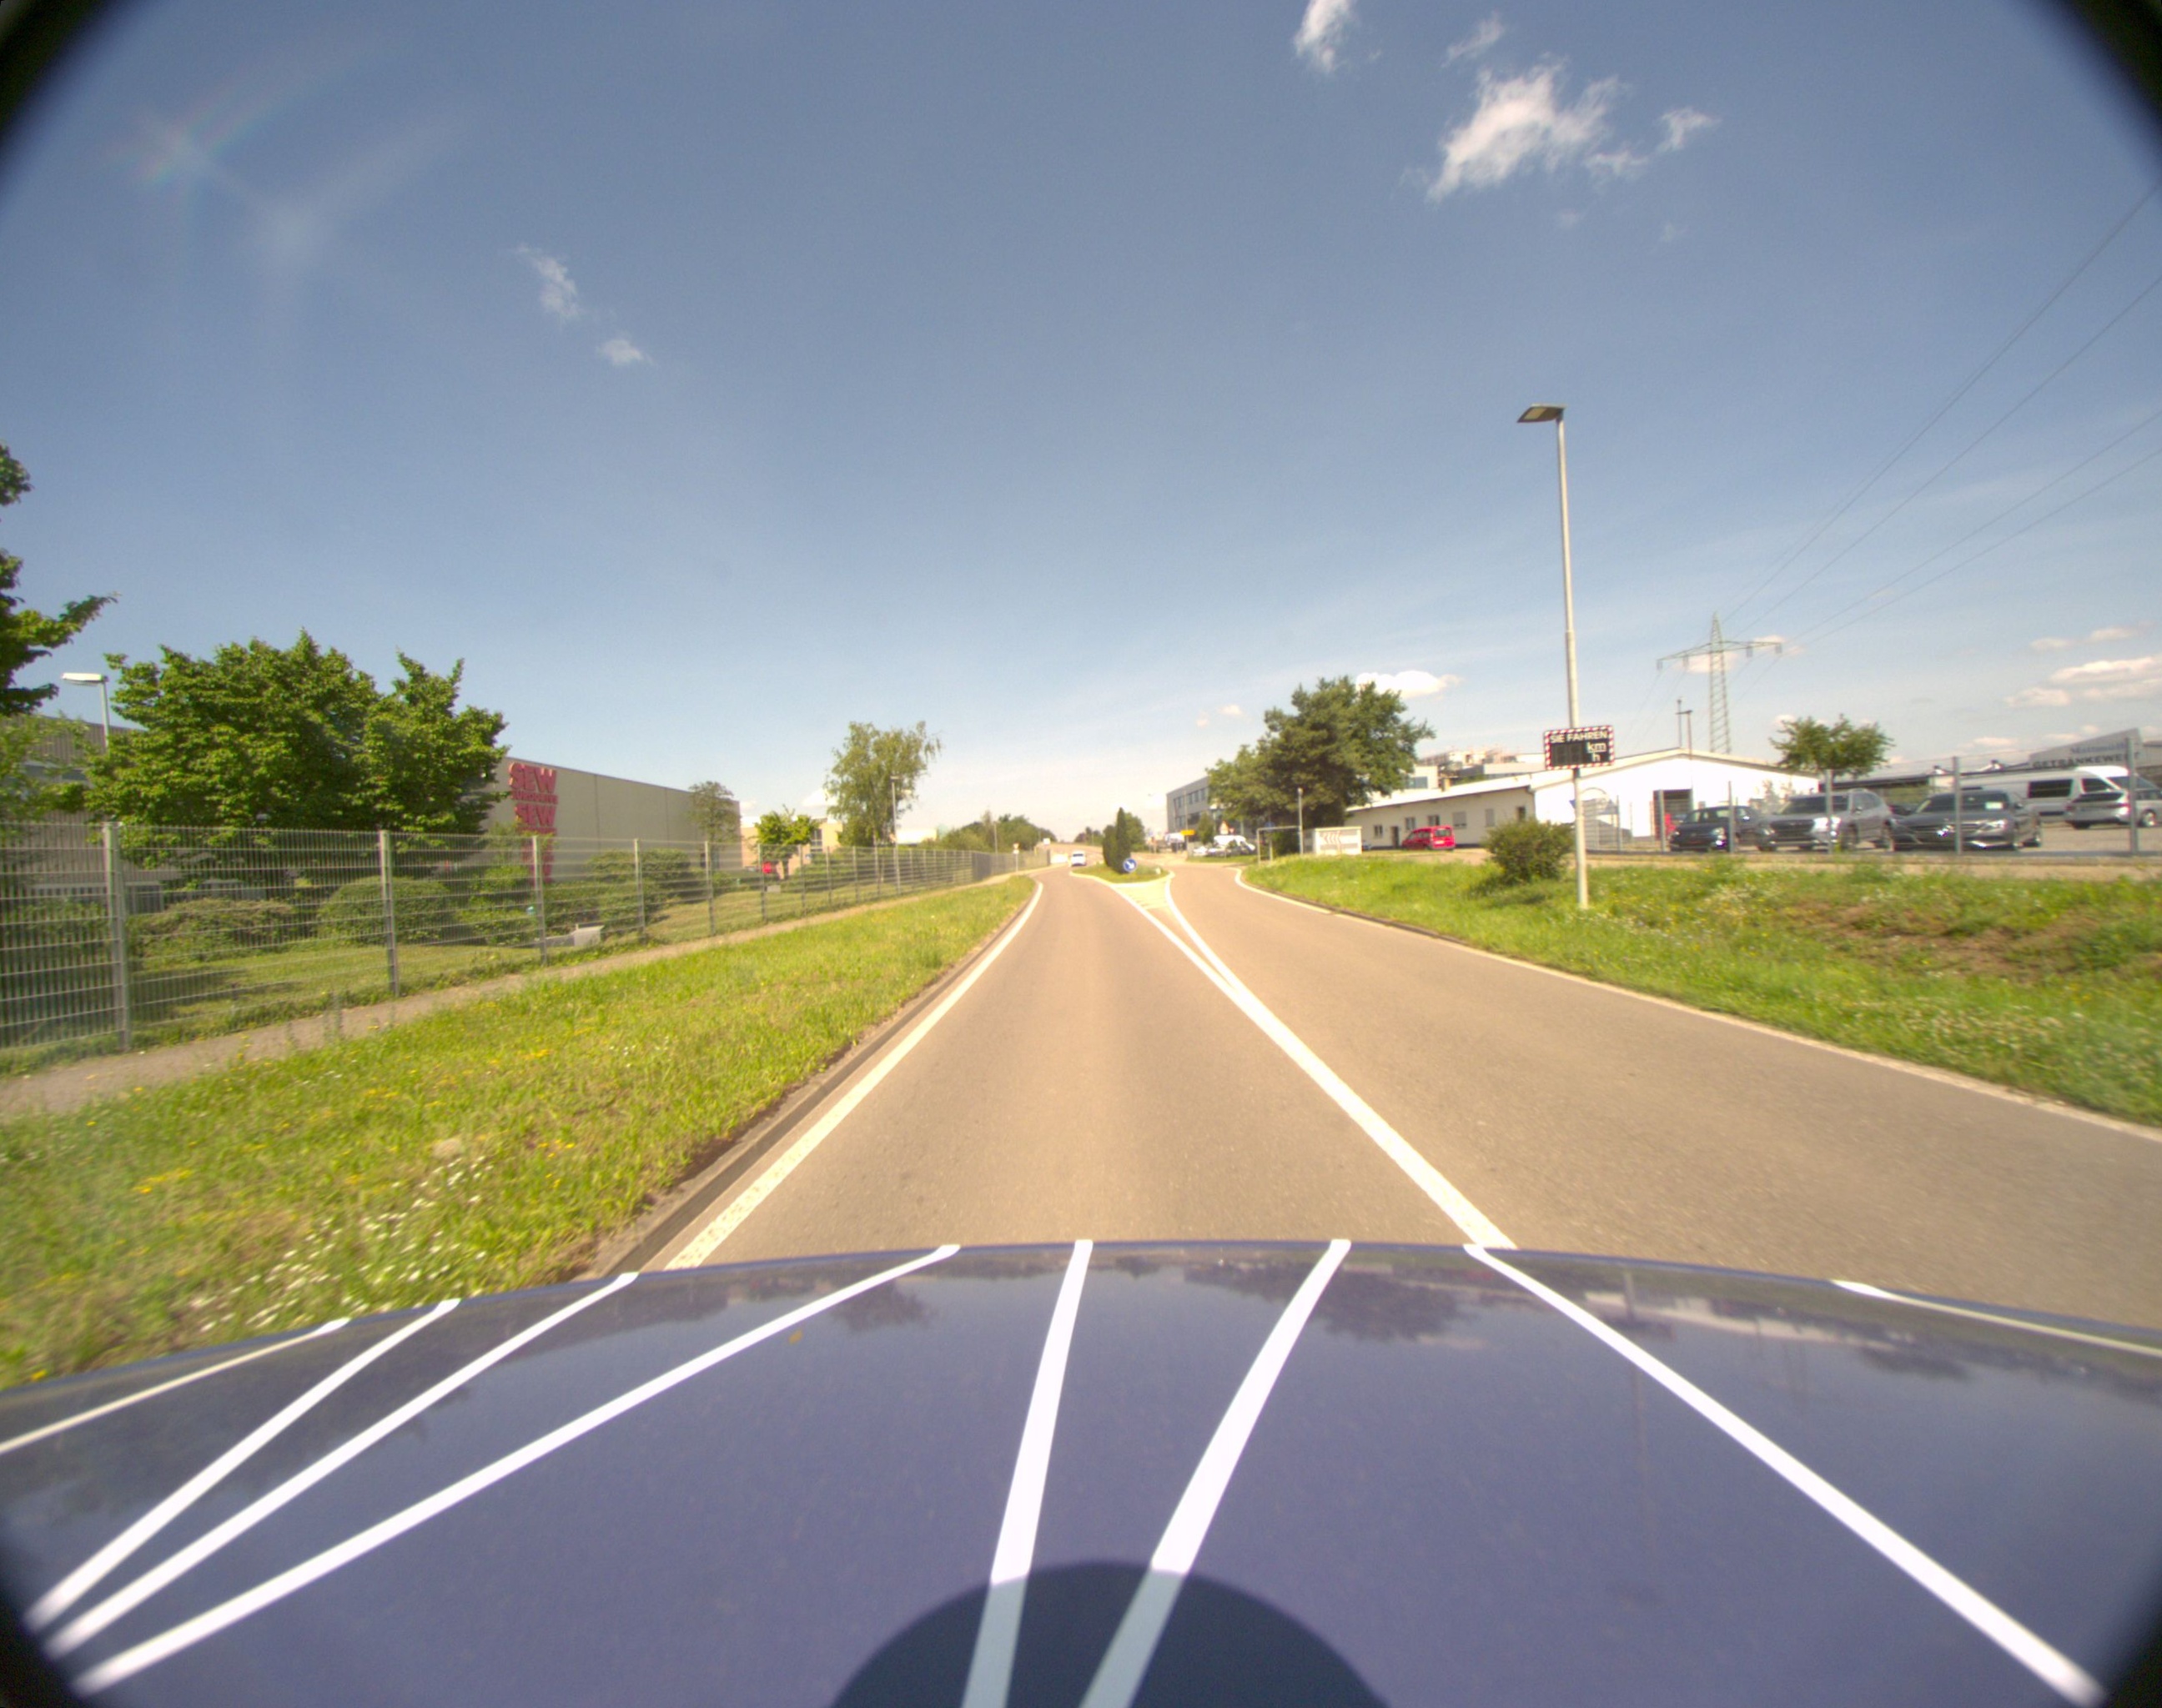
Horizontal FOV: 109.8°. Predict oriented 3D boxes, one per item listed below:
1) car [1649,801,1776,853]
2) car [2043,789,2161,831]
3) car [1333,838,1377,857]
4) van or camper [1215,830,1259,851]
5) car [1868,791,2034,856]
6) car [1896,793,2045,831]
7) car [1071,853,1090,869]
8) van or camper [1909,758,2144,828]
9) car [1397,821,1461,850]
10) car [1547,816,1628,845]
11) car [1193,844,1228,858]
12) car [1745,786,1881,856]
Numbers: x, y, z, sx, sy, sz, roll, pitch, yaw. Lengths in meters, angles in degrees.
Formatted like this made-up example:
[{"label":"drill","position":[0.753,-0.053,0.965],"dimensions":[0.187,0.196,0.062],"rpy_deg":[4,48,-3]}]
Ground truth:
[{"label":"car","position":[20.159,-0.860,24.237],"dimensions":[3.574,1.393,1.797],"rpy_deg":[-4,1,-27]},{"label":"car","position":[38.313,-1.647,27.690],"dimensions":[3.997,1.302,2.000],"rpy_deg":[-3,0,-1]},{"label":"car","position":[22.920,-0.485,63.662],"dimensions":[1.999,1.399,4.517],"rpy_deg":[-2,-1,0]},{"label":"van or camper","position":[21.505,-1.864,104.637],"dimensions":[5.575,2.483,2.081],"rpy_deg":[-3,2,24]},{"label":"car","position":[20.690,-0.733,18.039],"dimensions":[4.006,1.302,1.938],"rpy_deg":[-4,1,-32]},{"label":"car","position":[39.927,-1.843,34.271],"dimensions":[1.925,1.425,3.999],"rpy_deg":[-3,0,-3]},{"label":"car","position":[-0.051,0.876,97.578],"dimensions":[1.998,1.904,4.001],"rpy_deg":[-3,1,5]},{"label":"van or camper","position":[42.564,-2.628,34.621],"dimensions":[1.999,2.584,6.768],"rpy_deg":[-3,0,-3]},{"label":"car","position":[23.055,-1.215,50.507],"dimensions":[1.999,1.734,4.227],"rpy_deg":[-3,1,-5]},{"label":"car","position":[32.229,-1.489,48.416],"dimensions":[3.999,1.516,1.935],"rpy_deg":[-4,1,-8]},{"label":"car","position":[15.892,-0.333,93.514],"dimensions":[3.996,1.510,2.000],"rpy_deg":[-3,1,3]},{"label":"car","position":[20.431,-0.924,21.184],"dimensions":[4.115,1.695,1.719],"rpy_deg":[-4,1,-32]}]
